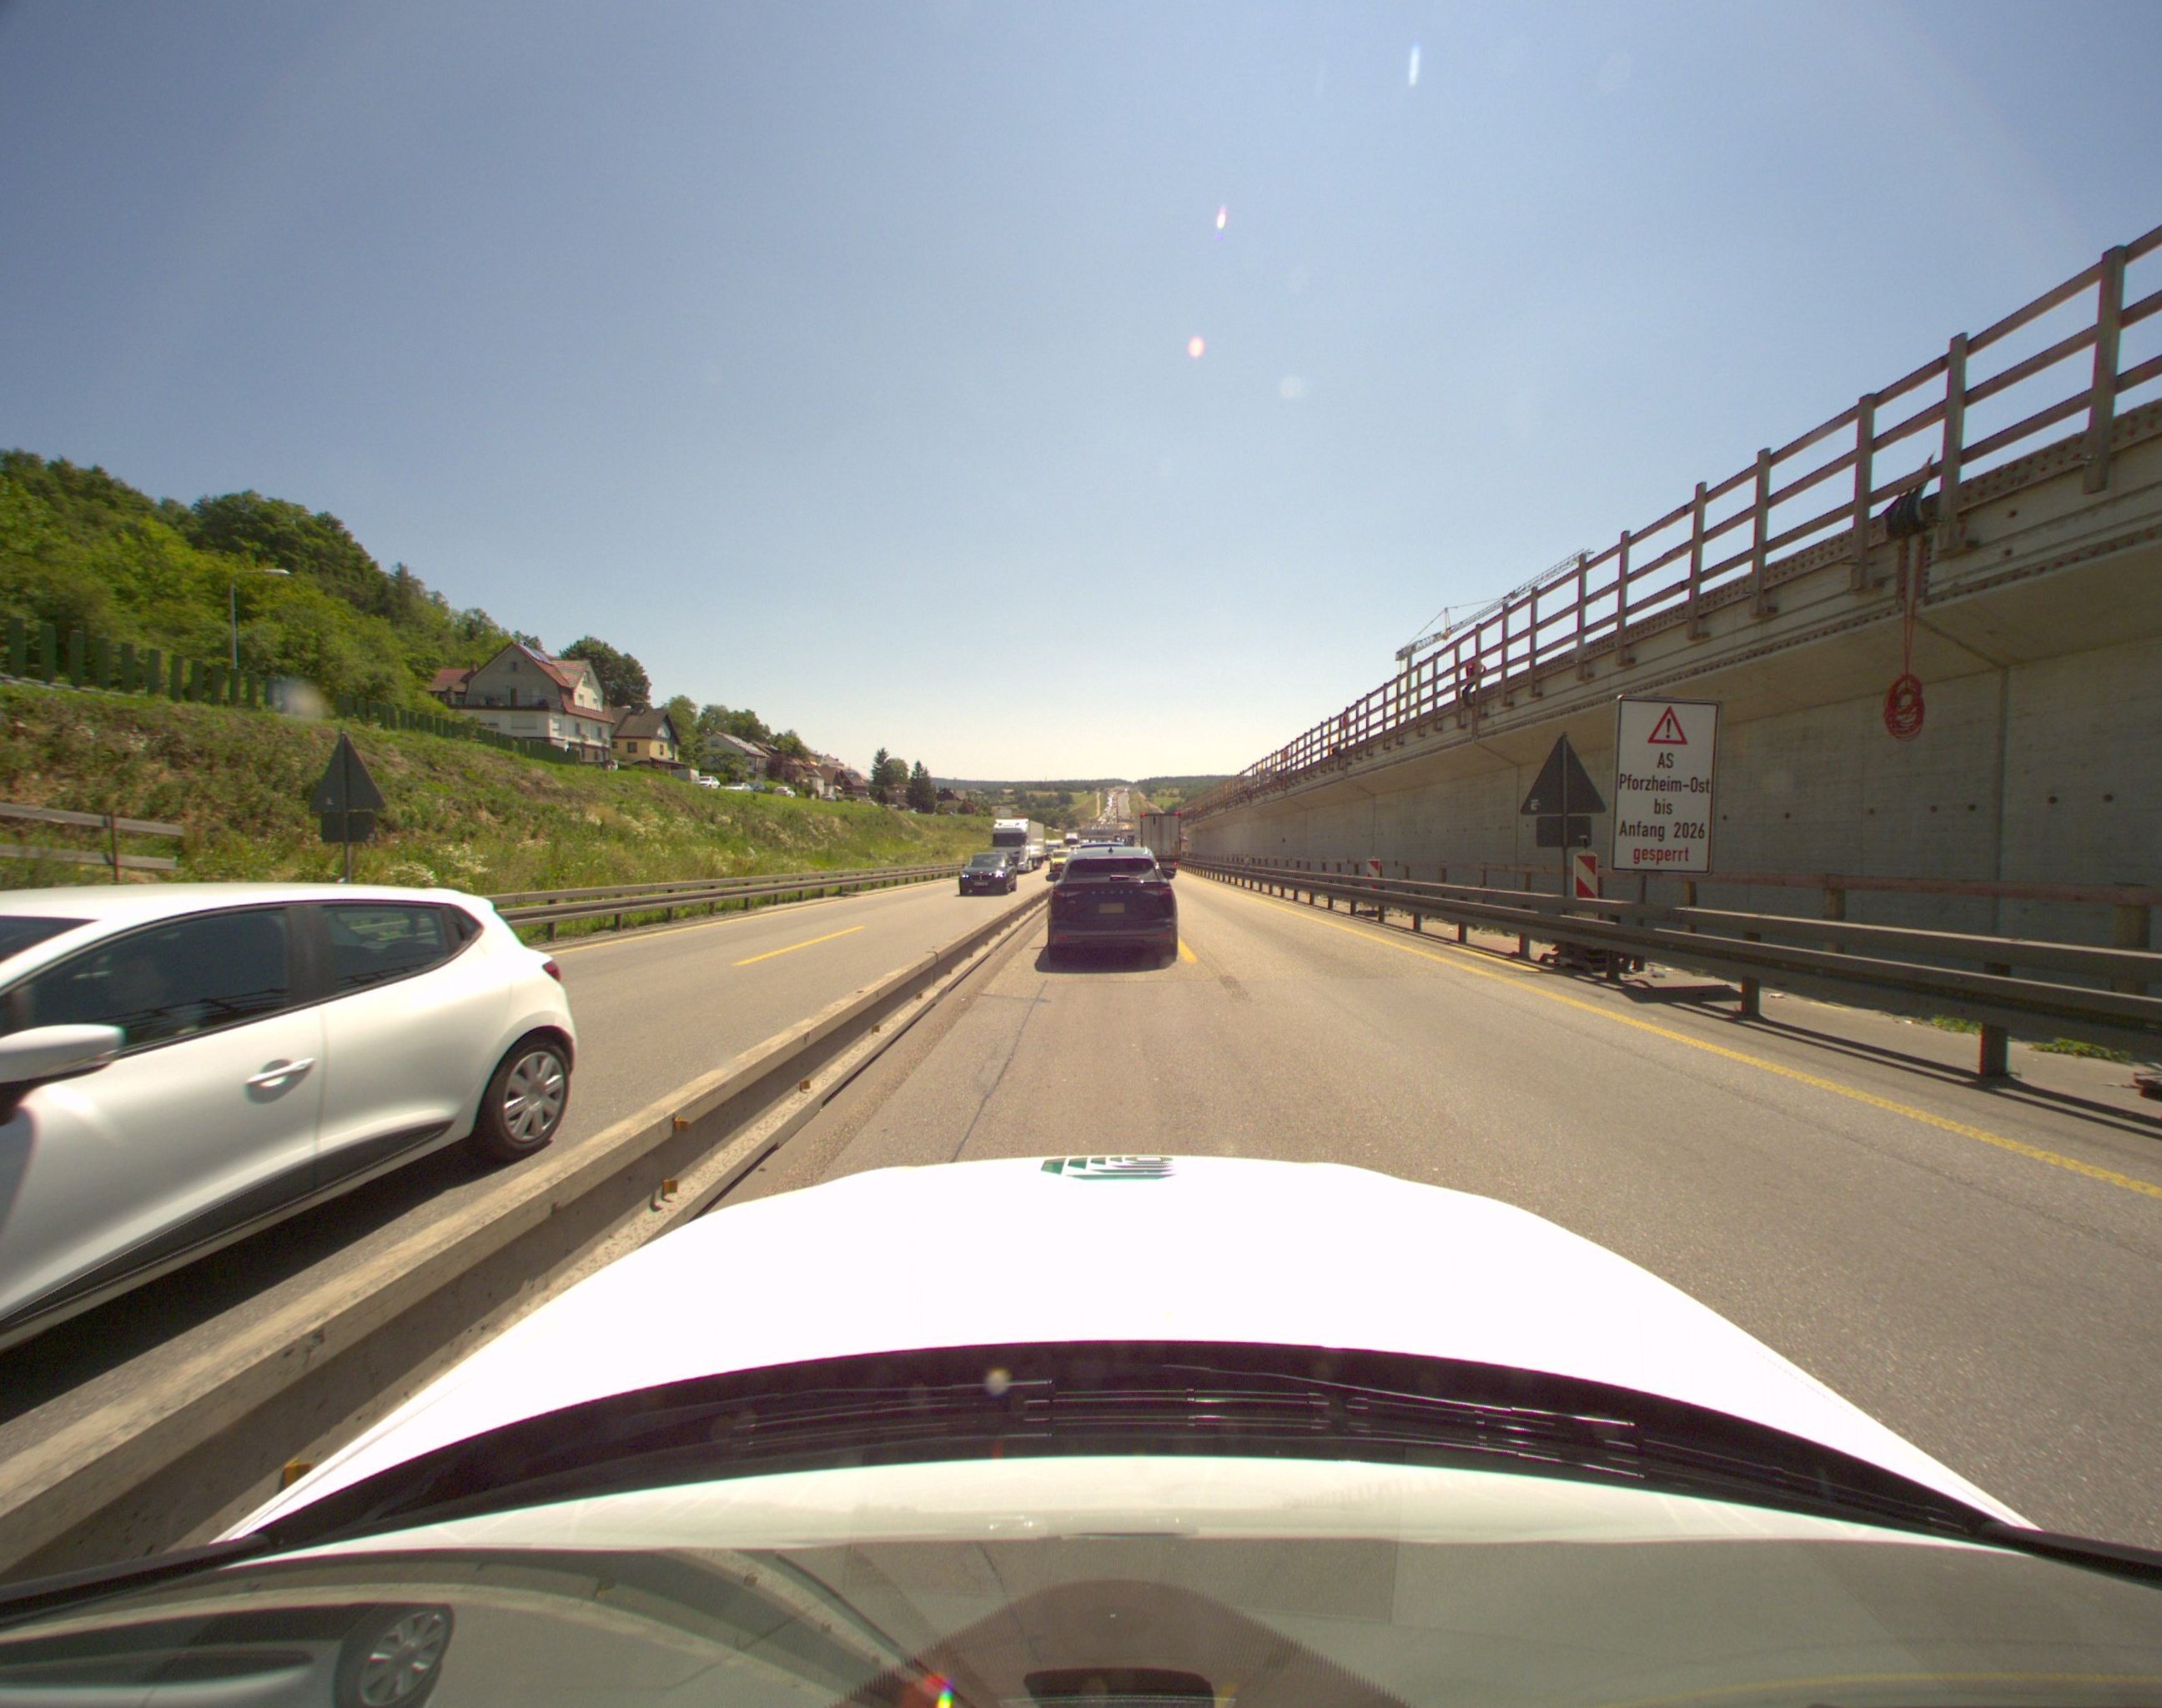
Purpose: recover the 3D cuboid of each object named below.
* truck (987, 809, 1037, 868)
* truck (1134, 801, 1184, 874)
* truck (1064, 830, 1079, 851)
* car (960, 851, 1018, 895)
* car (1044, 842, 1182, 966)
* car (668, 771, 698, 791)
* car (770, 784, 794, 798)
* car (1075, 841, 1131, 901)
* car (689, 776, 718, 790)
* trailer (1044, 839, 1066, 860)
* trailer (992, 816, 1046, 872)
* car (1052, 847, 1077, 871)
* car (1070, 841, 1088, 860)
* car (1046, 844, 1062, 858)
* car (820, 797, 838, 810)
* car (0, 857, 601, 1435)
[{"bbox_3d":[-5.119,-1.048,61.641,3.169,4.238,6.485,0,-1,1],"label":"truck"},{"bbox_3d":[5.341,-0.997,57.715,2.835,4.615,11.816,0,-1,2],"label":"truck"},{"bbox_3d":[-1.889,-2.664,166.195,2.742,4.227,8.105,0,0,3],"label":"truck"},{"bbox_3d":[-3.506,0.687,31.637,1.694,1.561,4.104,-1,0,1],"label":"car"},{"bbox_3d":[0.438,0.659,12.451,1.777,1.597,3.755,0,0,0],"label":"car"},{"bbox_3d":[-34.653,-6.334,71.050,1.732,1.398,3.779,2,0,-17],"label":"car"},{"bbox_3d":[-37.558,-7.883,102.366,1.993,1.319,3.987,3,-1,-9],"label":"car"},{"bbox_3d":[0.707,0.559,28.538,1.744,1.895,3.754,2,0,-1],"label":"car"},{"bbox_3d":[-34.883,-6.581,75.287,1.278,1.039,3.270,-1,0,-4],"label":"car"},{"bbox_3d":[-3.428,-0.584,110.634,2.475,2.613,5.870,-1,-1,3],"label":"trailer"},{"bbox_3d":[-4.964,-0.768,68.136,3.209,4.158,13.411,-1,0,1],"label":"trailer"},{"bbox_3d":[-1.283,0.397,63.947,1.769,1.820,4.435,0,0,2],"label":"car"},{"bbox_3d":[-0.151,-0.398,90.826,1.856,2.014,4.807,0,-1,2],"label":"car"},{"bbox_3d":[-3.383,-0.390,102.382,1.740,1.585,4.001,3,-1,1],"label":"car"},{"bbox_3d":[-37.781,-7.545,122.280,1.924,1.728,3.988,0,0,-9],"label":"car"},{"bbox_3d":[-3.644,0.766,2.849,1.685,1.486,3.749,0,0,0],"label":"car"}]
